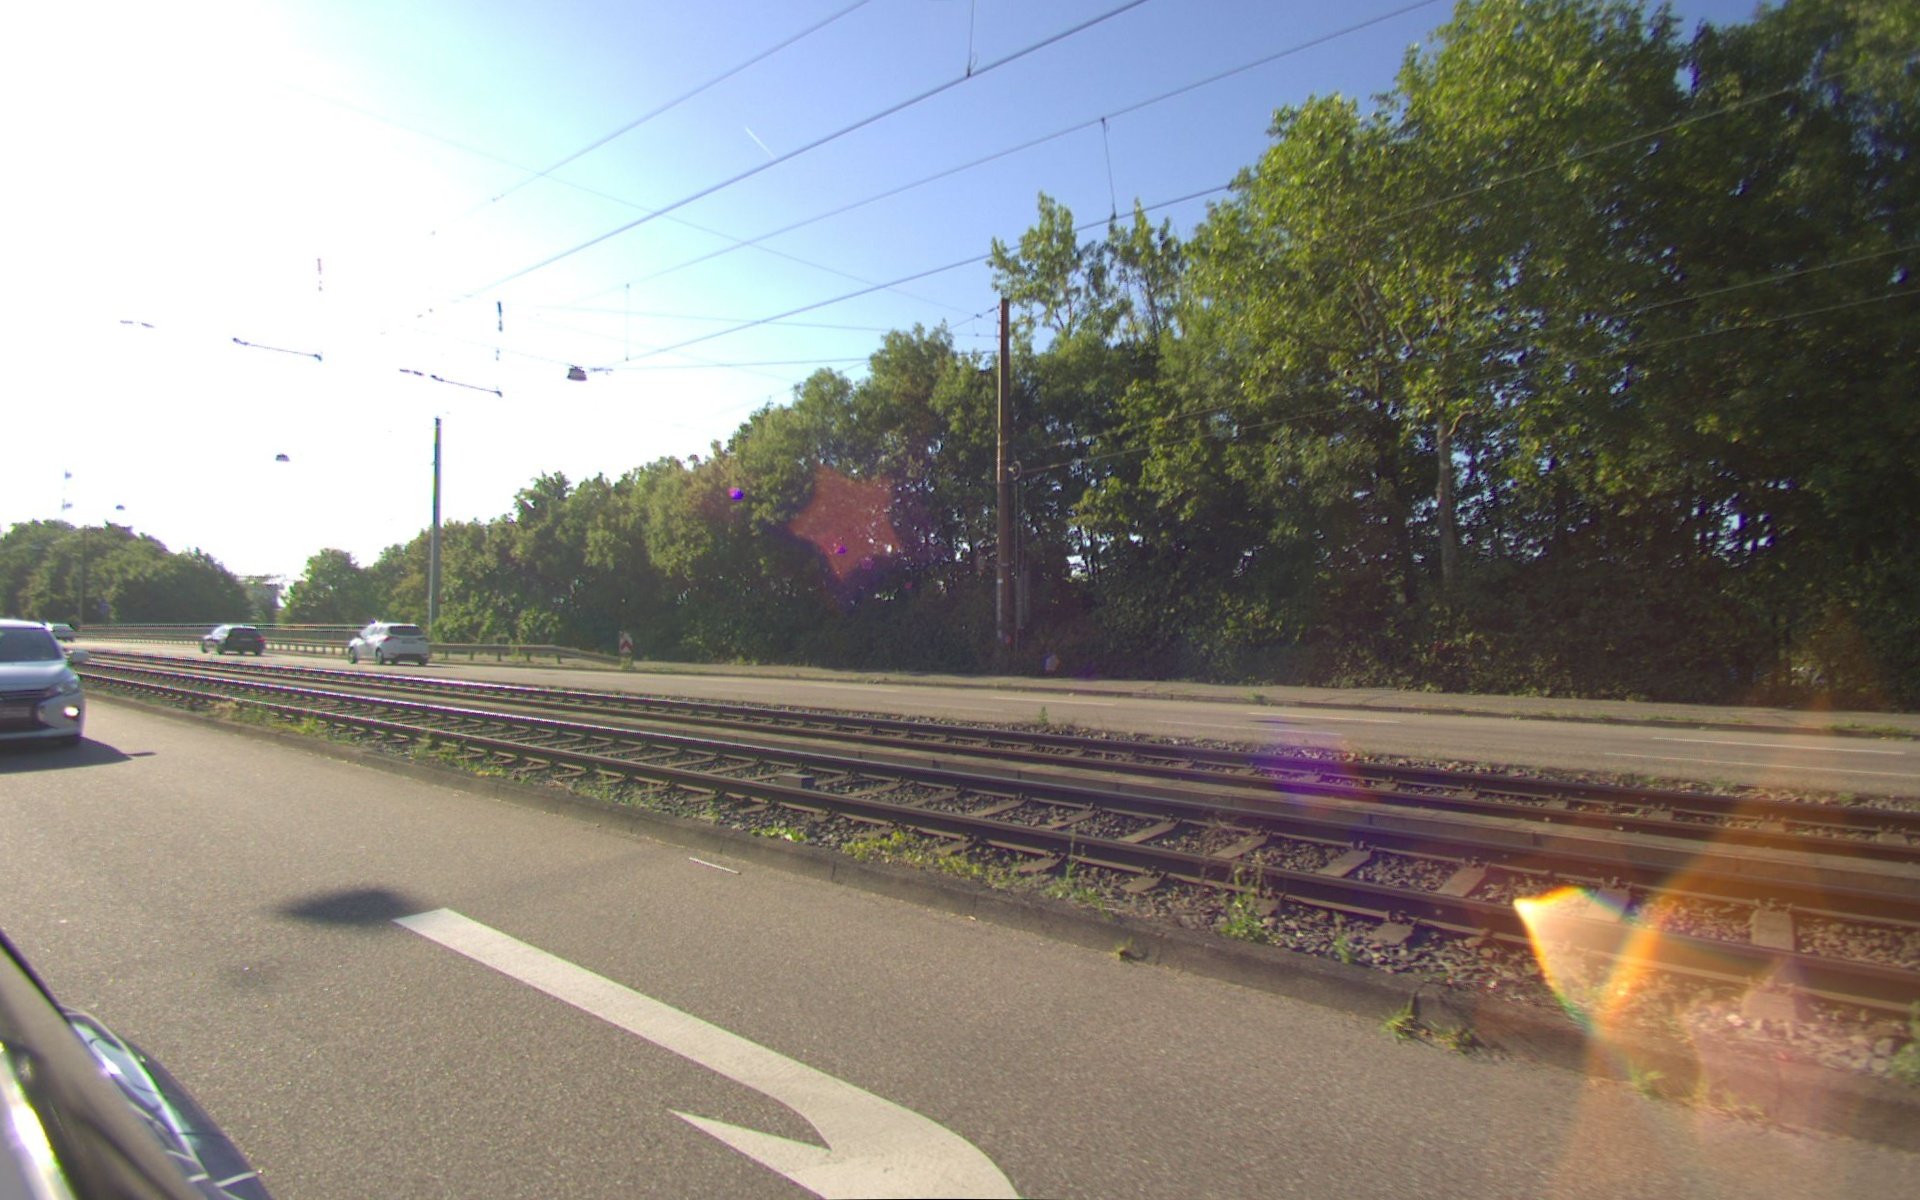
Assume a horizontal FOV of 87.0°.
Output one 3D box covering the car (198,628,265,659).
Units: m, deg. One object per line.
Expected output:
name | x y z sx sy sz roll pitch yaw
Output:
car | -36.437 2.173 50.581 4.499 1.443 1.640 -1 -4 41

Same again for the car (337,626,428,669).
car | -22.671 1.857 39.660 4.187 1.568 1.674 -1 -4 40

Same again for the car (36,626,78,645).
car | -73.861 2.916 82.740 4.872 1.425 1.737 -1 -4 39

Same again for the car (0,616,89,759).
car | -11.795 0.963 11.998 3.860 1.523 1.687 -1 -1 41

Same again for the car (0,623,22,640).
car | -93.471 3.047 99.090 4.796 1.592 1.692 -1 -3 39
